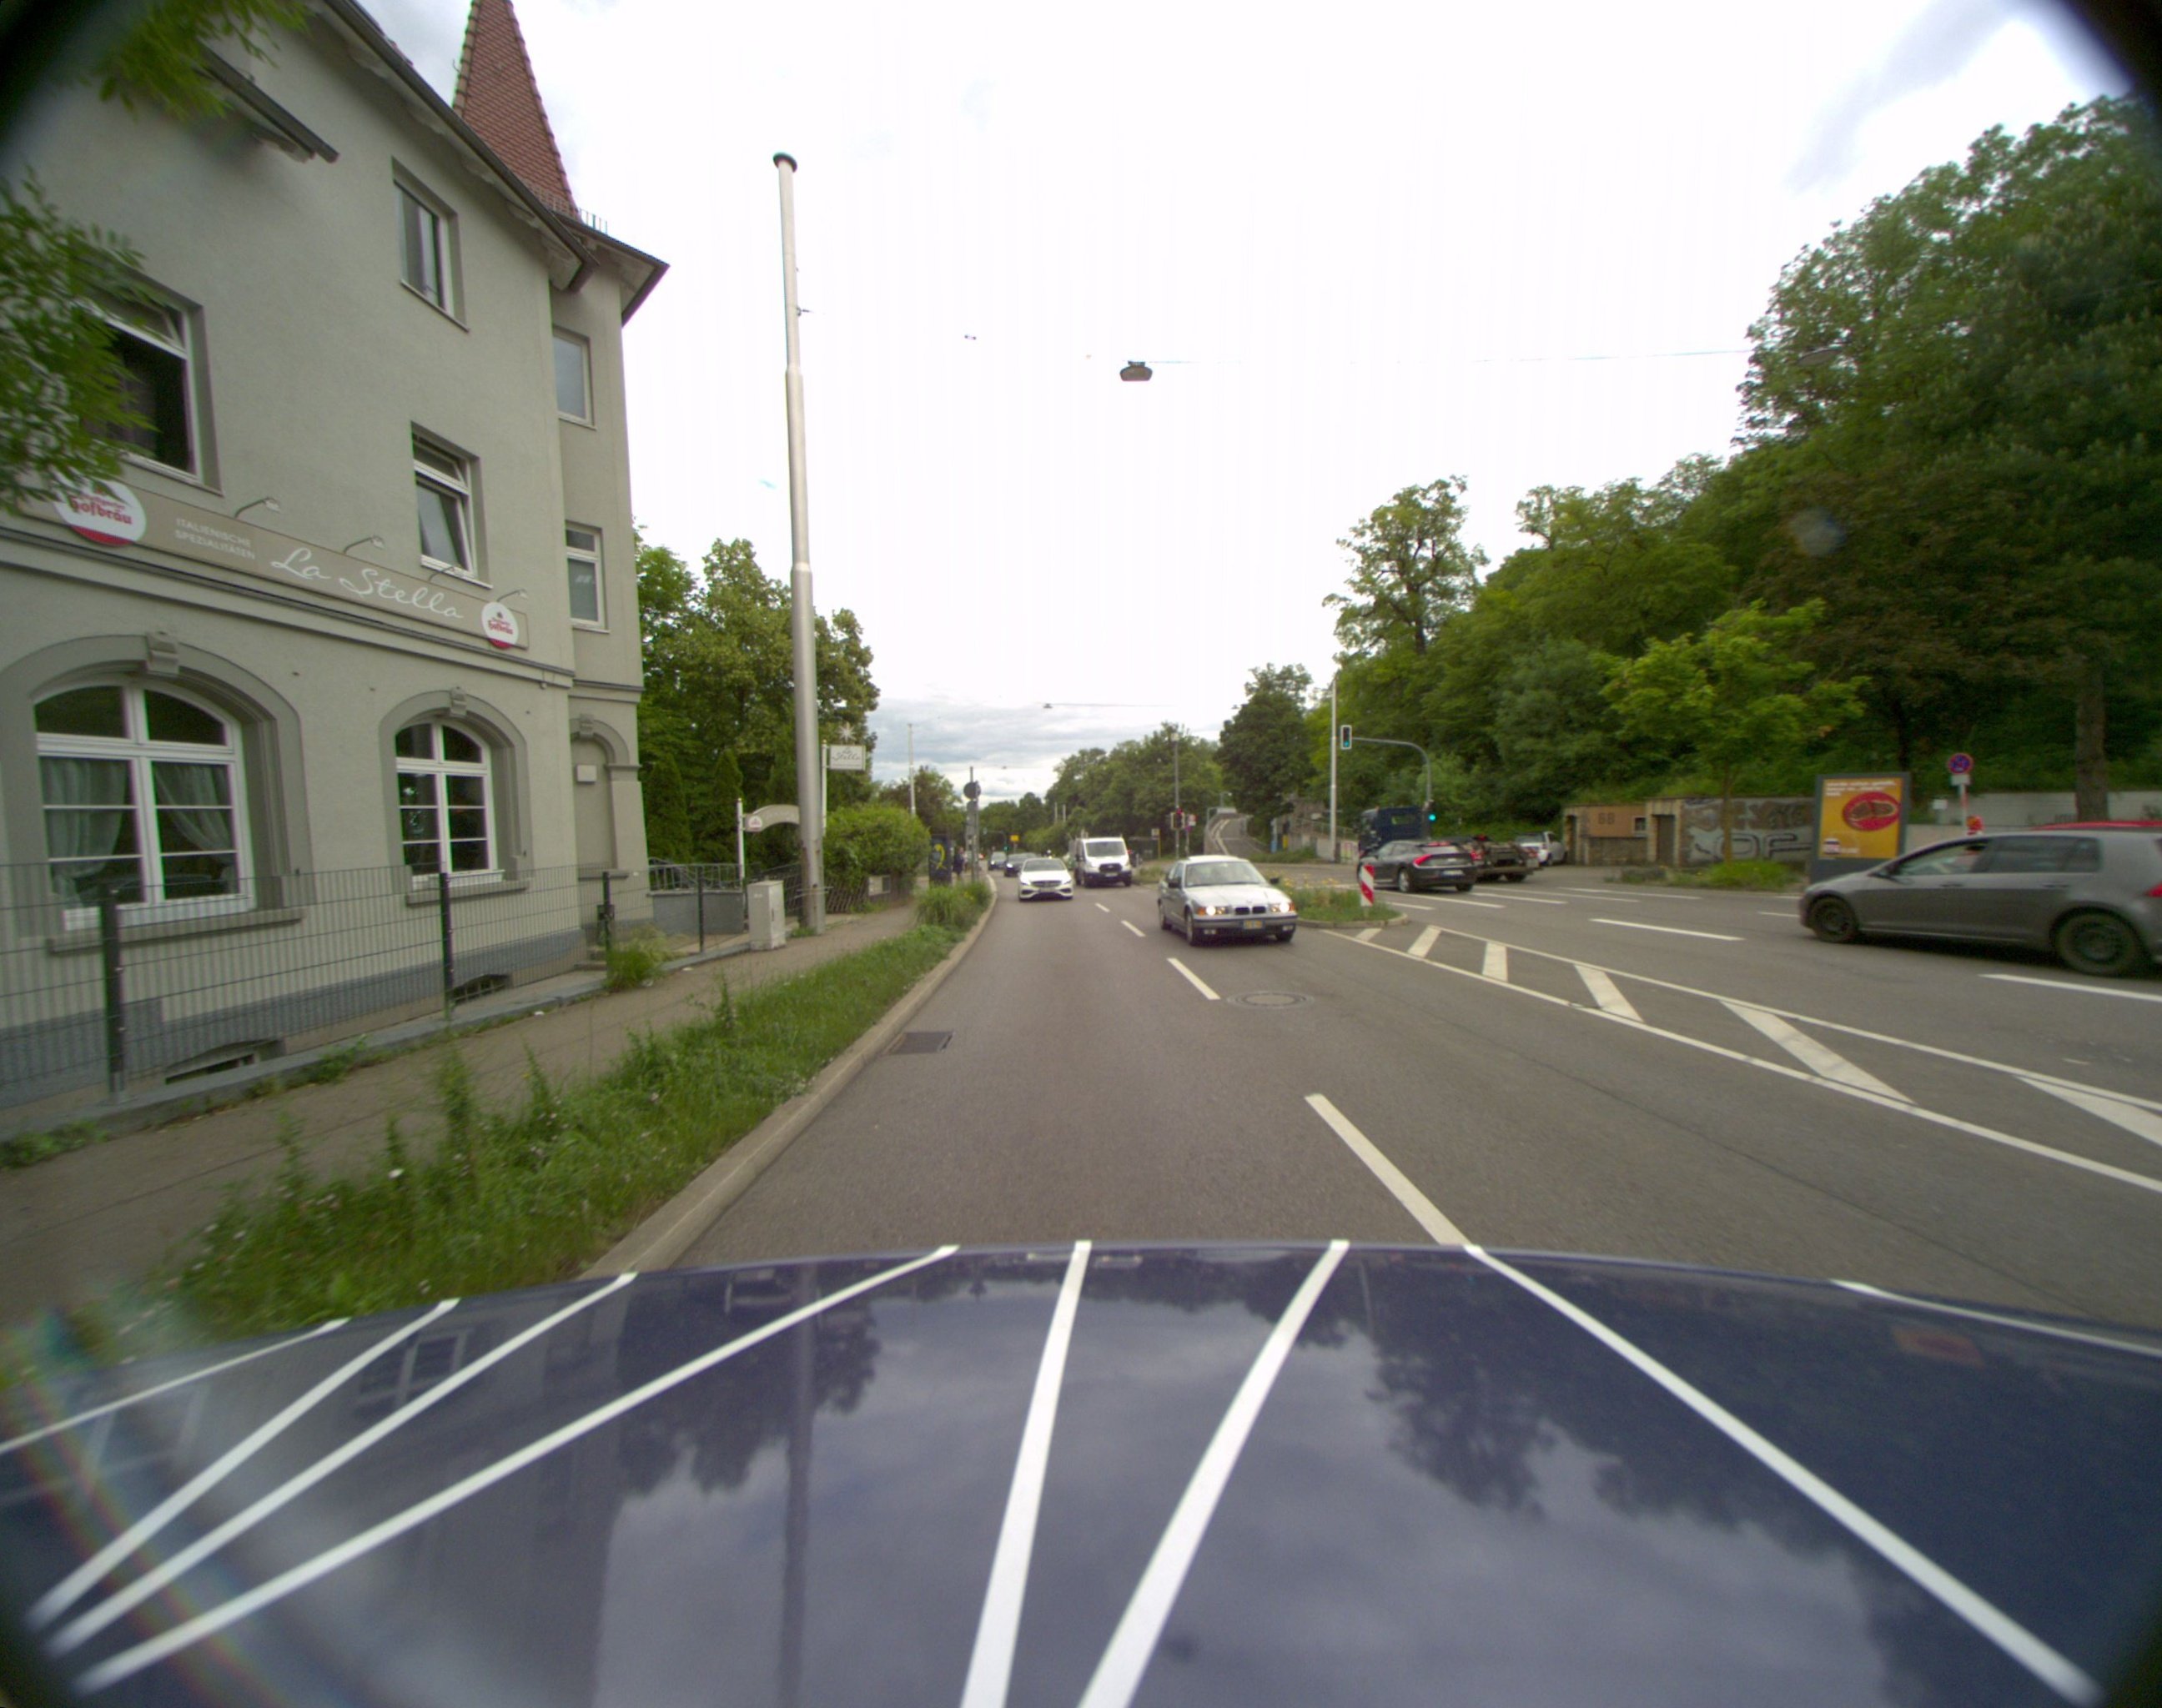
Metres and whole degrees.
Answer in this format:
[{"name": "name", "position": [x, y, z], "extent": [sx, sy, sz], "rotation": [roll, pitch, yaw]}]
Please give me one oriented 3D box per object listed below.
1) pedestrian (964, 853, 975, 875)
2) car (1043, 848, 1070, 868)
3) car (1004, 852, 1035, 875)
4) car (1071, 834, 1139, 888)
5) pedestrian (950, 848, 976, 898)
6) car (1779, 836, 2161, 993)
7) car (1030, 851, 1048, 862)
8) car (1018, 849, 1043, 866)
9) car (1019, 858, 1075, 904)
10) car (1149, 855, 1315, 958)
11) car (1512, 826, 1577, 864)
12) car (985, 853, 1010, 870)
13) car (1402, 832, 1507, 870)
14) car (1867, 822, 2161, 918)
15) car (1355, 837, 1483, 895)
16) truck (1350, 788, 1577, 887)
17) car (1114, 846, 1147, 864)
[{"name": "pedestrian", "position": [-8.917, 0.804, 60.573], "extent": [0.696, 1.679, 0.618], "rotation": [-1, 2, -24]}, {"name": "car", "position": [-2.086, 0.296, 63.278], "extent": [1.679, 1.532, 4.549], "rotation": [-1, 0, -9]}, {"name": "car", "position": [-4.265, 0.614, 52.502], "extent": [1.679, 1.532, 4.610], "rotation": [-1, 1, -10]}, {"name": "car", "position": [0.953, 0.263, 34.057], "extent": [2.254, 2.114, 6.666], "rotation": [-2, 1, -5]}, {"name": "pedestrian", "position": [-4.483, 0.712, 28.805], "extent": [0.696, 1.823, 0.618], "rotation": [-4, 2, -33]}, {"name": "car", "position": [10.627, 0.515, 8.440], "extent": [1.847, 1.385, 4.284], "rotation": [-1, 1, 1]}, {"name": "car", "position": [-6.232, 0.396, 112.592], "extent": [1.657, 1.440, 4.560], "rotation": [-3, 1, -17]}, {"name": "car", "position": [-4.905, 0.283, 73.190], "extent": [1.679, 1.532, 4.609], "rotation": [-1, 1, -13]}, {"name": "car", "position": [-1.165, 0.883, 26.561], "extent": [1.807, 1.385, 4.282], "rotation": [-1, 0, -2]}, {"name": "car", "position": [2.419, 0.762, 13.405], "extent": [1.757, 1.385, 4.613], "rotation": [-2, 1, -3]}, {"name": "car", "position": [20.846, -0.404, 34.138], "extent": [2.715, 1.512, 1.560], "rotation": [-6, 3, -36]}, {"name": "car", "position": [-7.713, 0.661, 69.845], "extent": [1.809, 1.385, 4.279], "rotation": [-2, 1, -12]}, {"name": "car", "position": [16.599, -0.130, 33.975], "extent": [1.600, 1.531, 4.125], "rotation": [-2, 1, -24]}, {"name": "car", "position": [16.889, 0.210, 13.563], "extent": [1.626, 1.457, 3.925], "rotation": [-1, 1, -1]}, {"name": "car", "position": [9.864, 0.314, 22.591], "extent": [1.700, 1.488, 4.485], "rotation": [-2, 1, -1]}, {"name": "truck", "position": [13.417, -0.538, 27.923], "extent": [2.970, 2.954, 8.972], "rotation": [-2, 1, -7]}, {"name": "car", "position": [4.227, 0.065, 65.454], "extent": [1.697, 1.492, 4.550], "rotation": [-3, 1, -11]}]
